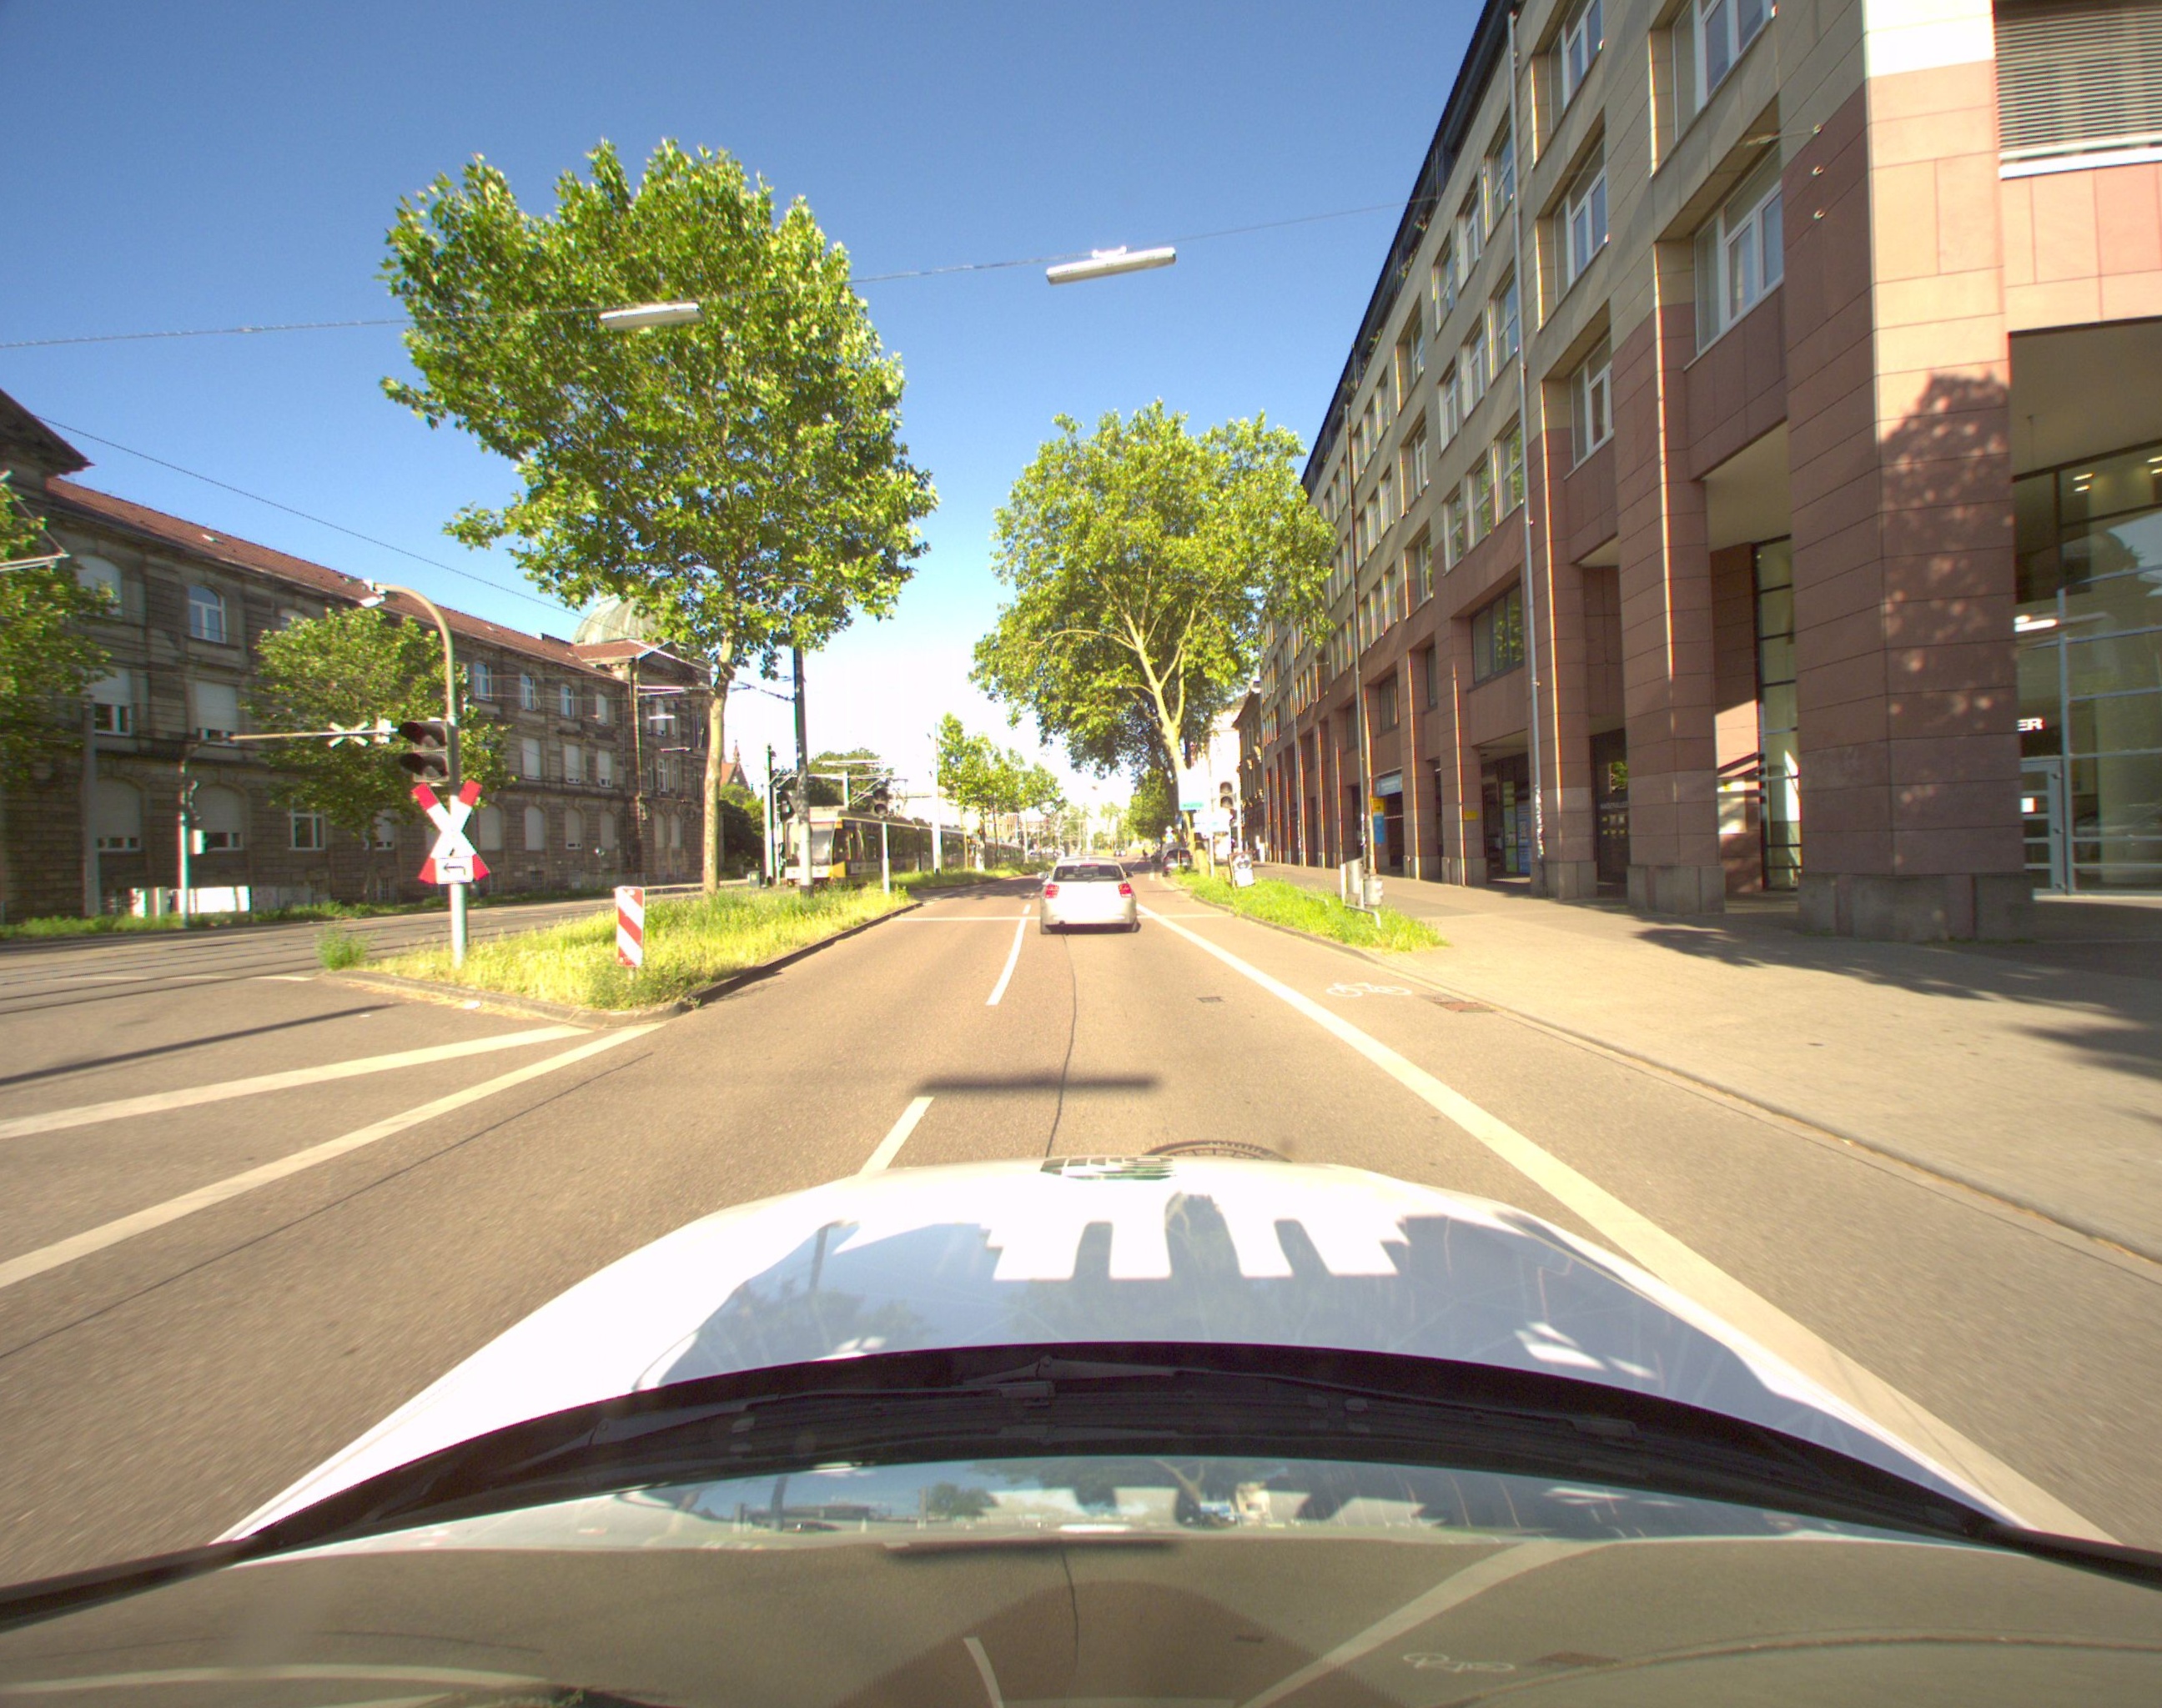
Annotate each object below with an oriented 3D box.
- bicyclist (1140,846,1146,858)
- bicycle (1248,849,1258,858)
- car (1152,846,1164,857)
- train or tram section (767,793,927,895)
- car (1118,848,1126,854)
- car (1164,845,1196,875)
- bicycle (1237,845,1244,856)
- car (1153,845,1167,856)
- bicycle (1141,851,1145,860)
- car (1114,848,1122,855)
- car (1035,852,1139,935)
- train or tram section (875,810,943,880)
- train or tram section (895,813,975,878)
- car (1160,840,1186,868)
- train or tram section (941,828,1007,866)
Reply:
[{"bbox_3d":[8.132,-0.260,106.520,0.781,1.531,0.896,0,0,4],"label":"bicyclist"},{"bbox_3d":[14.703,-0.033,69.518,0.546,0.773,1.665,-4,0,4],"label":"bicycle"},{"bbox_3d":[11.329,-0.423,120.047,1.687,1.502,3.806,-4,0,5],"label":"car"},{"bbox_3d":[-10.224,-0.412,37.999,2.918,3.812,14.278,0,0,2],"label":"train or tram section"},{"bbox_3d":[9.330,-0.692,184.645,1.637,1.421,4.005,-1,0,5],"label":"car"},{"bbox_3d":[5.409,0.288,44.775,1.659,1.570,4.287,0,0,6],"label":"car"},{"bbox_3d":[15.047,-0.306,76.960,0.412,0.997,1.885,-2,0,4],"label":"bicycle"},{"bbox_3d":[12.369,-0.582,127.595,2.029,1.509,4.600,-2,0,5],"label":"car"},{"bbox_3d":[8.137,0.162,106.419,0.497,1.088,2.000,0,0,5],"label":"bicycle"},{"bbox_3d":[8.044,-0.619,176.366,1.720,1.470,4.413,-2,0,2],"label":"car"},{"bbox_3d":[0.144,0.686,16.159,1.791,1.415,4.001,0,0,1],"label":"car"},{"bbox_3d":[-9.858,-0.513,47.129,2.943,3.897,3.868,0,0,2],"label":"train or tram section"},{"bbox_3d":[-9.507,-0.549,54.517,2.941,3.897,10.810,0,0,3],"label":"train or tram section"},{"bbox_3d":[6.898,0.018,61.440,1.847,2.014,4.730,0,0,5],"label":"car"},{"bbox_3d":[-10.964,-0.769,86.496,2.951,3.483,21.236,-1,1,3],"label":"train or tram section"}]
